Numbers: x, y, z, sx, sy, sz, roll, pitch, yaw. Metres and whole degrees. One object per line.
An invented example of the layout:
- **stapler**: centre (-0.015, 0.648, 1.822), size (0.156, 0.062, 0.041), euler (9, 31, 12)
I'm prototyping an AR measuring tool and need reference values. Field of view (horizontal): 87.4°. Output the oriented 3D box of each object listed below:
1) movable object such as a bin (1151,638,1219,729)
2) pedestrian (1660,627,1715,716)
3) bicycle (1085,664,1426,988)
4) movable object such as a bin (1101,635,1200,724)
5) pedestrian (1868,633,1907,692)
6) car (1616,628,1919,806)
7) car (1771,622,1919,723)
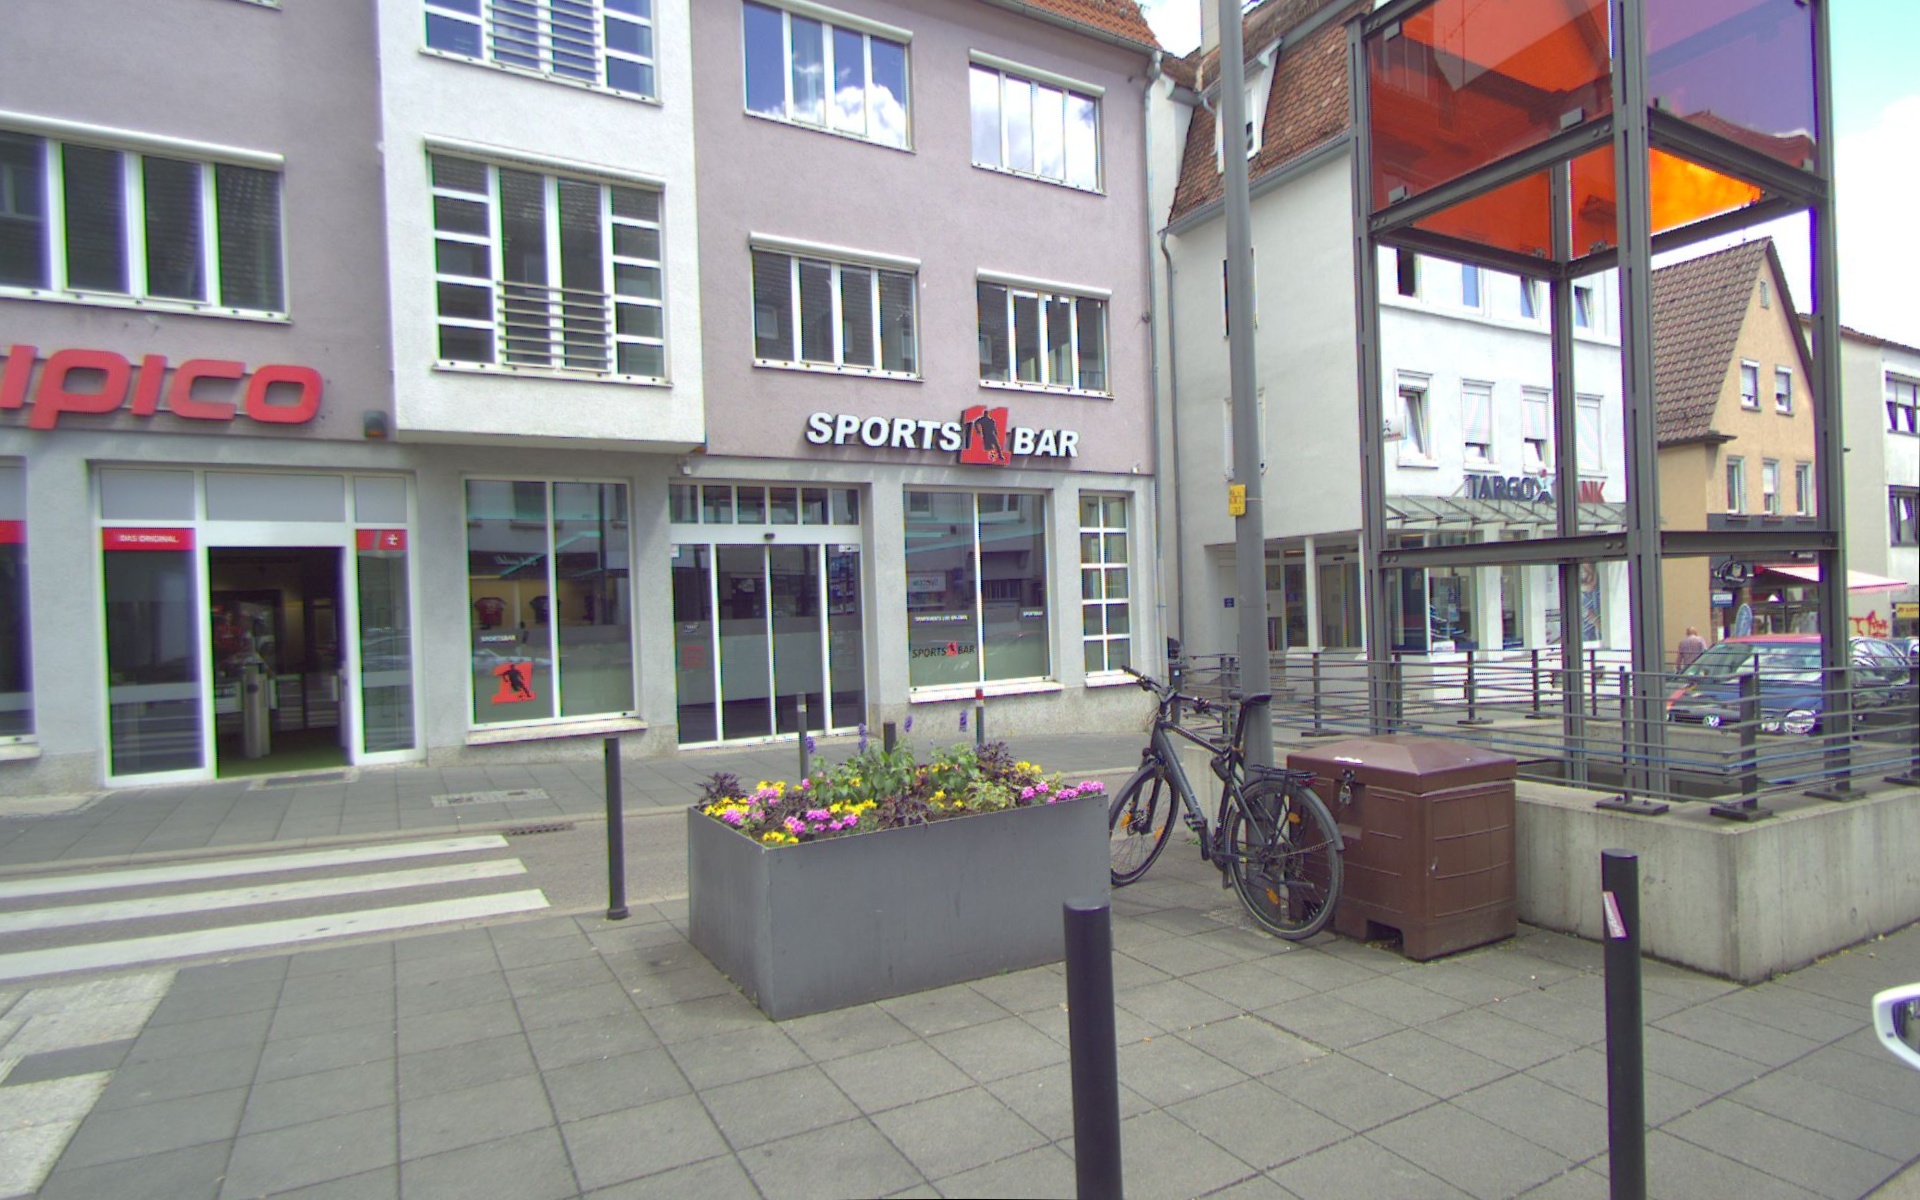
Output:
- **movable object such as a bin**: centre (3.571, 1.303, 15.941), size (0.798, 1.394, 0.686), euler (1, -1, -31)
- **pedestrian**: centre (14.476, 1.409, 19.988), size (0.818, 1.711, 0.636), euler (2, -1, -32)
- **bicycle**: centre (1.339, 0.962, 4.918), size (0.454, 1.239, 1.769), euler (1, -2, -31)
- **movable object such as a bin**: centre (3.198, 1.299, 16.925), size (1.055, 1.394, 1.277), euler (1, -1, -30)
- **pedestrian**: centre (25.656, 1.717, 27.787), size (0.708, 1.594, 0.562), euler (1, -3, -31)
- **car**: centre (8.470, 1.065, 10.302), size (3.816, 1.495, 1.559), euler (2, -1, -34)
- **car**: centre (16.554, 1.249, 18.133), size (4.075, 1.592, 1.671), euler (2, 0, -31)
